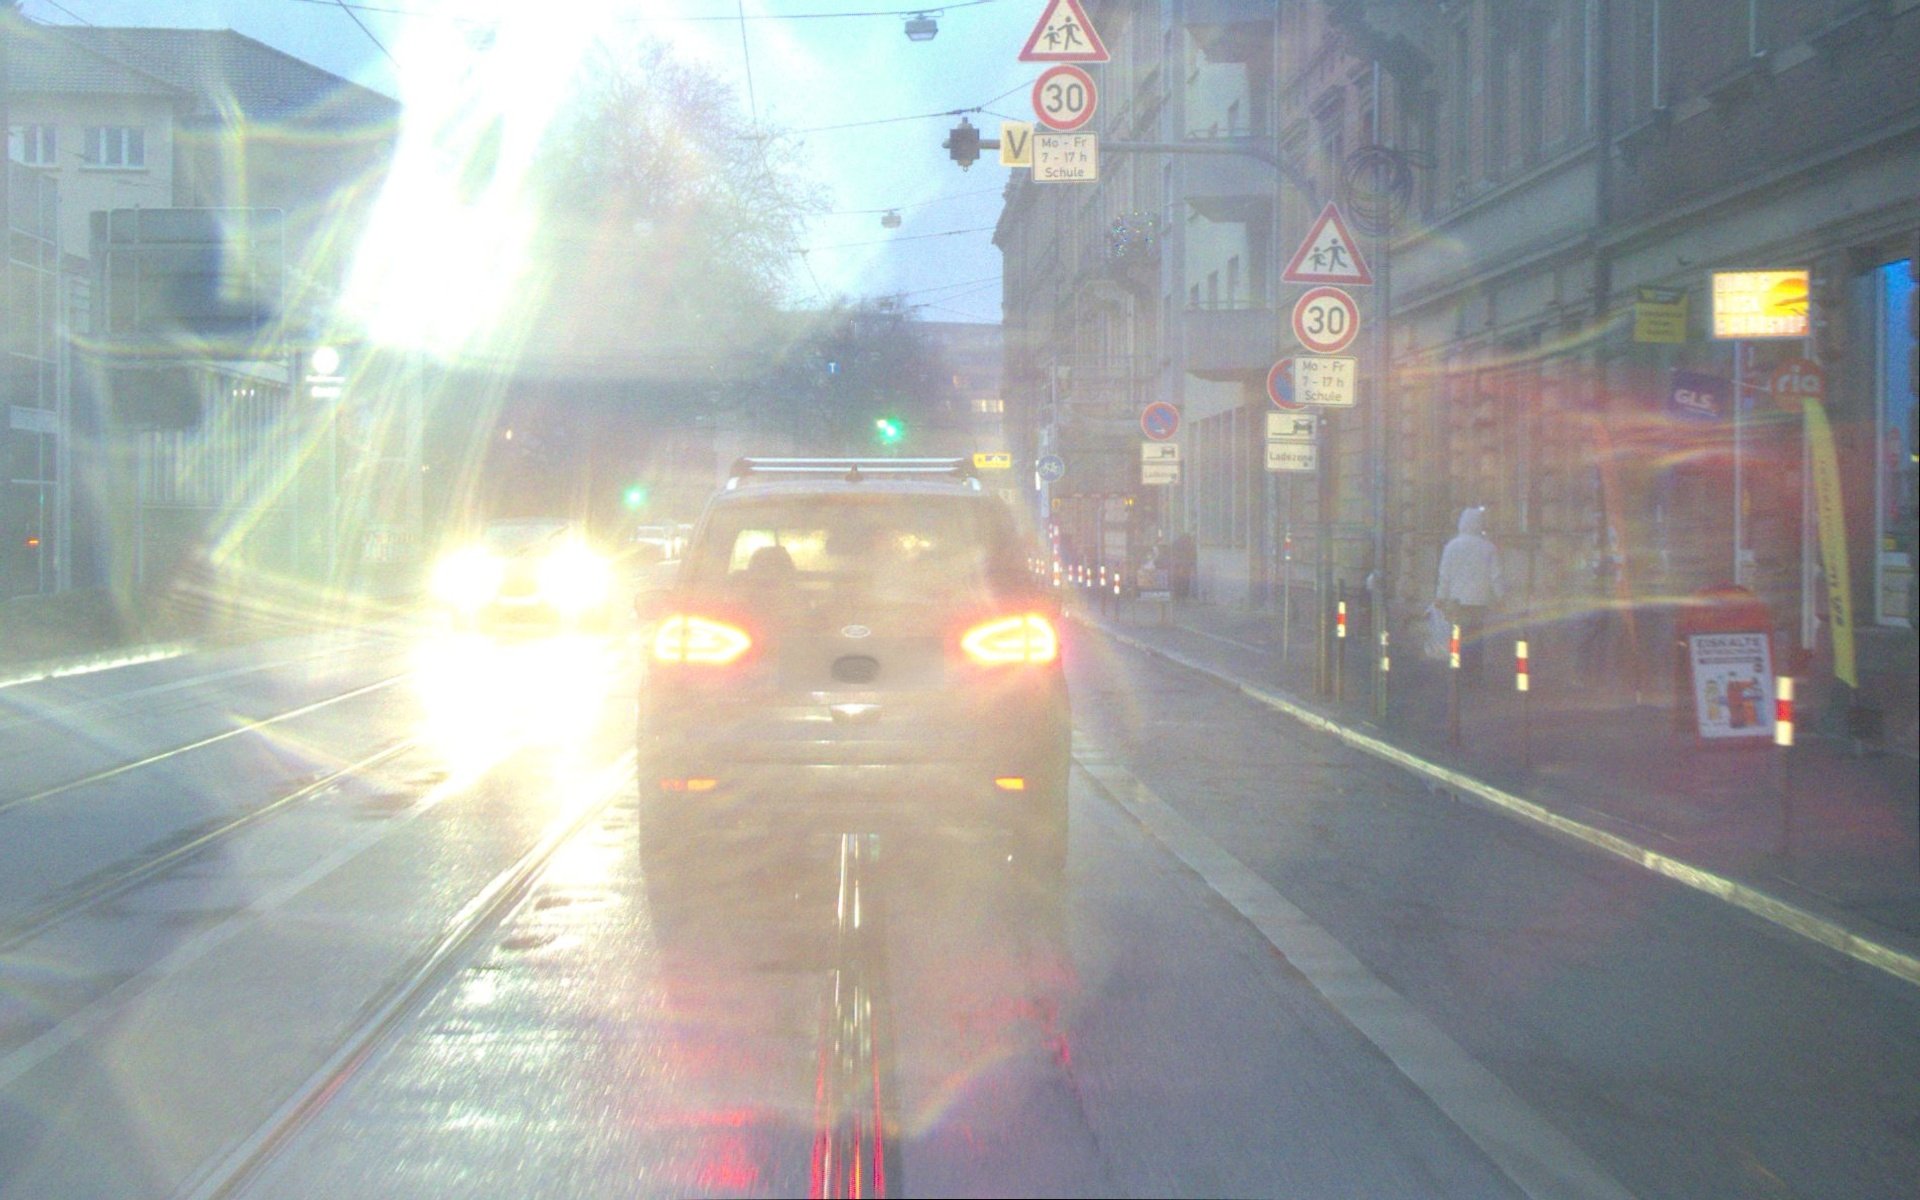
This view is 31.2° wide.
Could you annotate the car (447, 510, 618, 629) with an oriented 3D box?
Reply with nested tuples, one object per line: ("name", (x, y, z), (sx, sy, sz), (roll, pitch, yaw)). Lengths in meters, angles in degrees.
("car", (-5.925, -0.458, 48.092), (1.841, 1.573, 4.442), (0, 1, 0))

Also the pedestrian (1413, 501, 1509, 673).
("pedestrian", (4.704, -0.129, 32.318), (0.786, 1.592, 0.742), (0, 1, -1))

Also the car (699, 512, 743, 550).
("car", (-11.109, -3.240, 159.866), (1.875, 1.704, 4.761), (-1, 1, -2))

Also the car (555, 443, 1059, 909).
("car", (-0.566, 0.259, 15.607), (1.993, 1.835, 4.000), (0, 1, 1))

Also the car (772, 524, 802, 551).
("car", (-9.324, -3.382, 185.579), (1.530, 1.476, 3.561), (0, 1, -1))

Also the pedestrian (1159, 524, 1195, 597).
("pedestrian", (4.096, -0.744, 64.864), (0.600, 1.372, 0.728), (1, 1, -2))
